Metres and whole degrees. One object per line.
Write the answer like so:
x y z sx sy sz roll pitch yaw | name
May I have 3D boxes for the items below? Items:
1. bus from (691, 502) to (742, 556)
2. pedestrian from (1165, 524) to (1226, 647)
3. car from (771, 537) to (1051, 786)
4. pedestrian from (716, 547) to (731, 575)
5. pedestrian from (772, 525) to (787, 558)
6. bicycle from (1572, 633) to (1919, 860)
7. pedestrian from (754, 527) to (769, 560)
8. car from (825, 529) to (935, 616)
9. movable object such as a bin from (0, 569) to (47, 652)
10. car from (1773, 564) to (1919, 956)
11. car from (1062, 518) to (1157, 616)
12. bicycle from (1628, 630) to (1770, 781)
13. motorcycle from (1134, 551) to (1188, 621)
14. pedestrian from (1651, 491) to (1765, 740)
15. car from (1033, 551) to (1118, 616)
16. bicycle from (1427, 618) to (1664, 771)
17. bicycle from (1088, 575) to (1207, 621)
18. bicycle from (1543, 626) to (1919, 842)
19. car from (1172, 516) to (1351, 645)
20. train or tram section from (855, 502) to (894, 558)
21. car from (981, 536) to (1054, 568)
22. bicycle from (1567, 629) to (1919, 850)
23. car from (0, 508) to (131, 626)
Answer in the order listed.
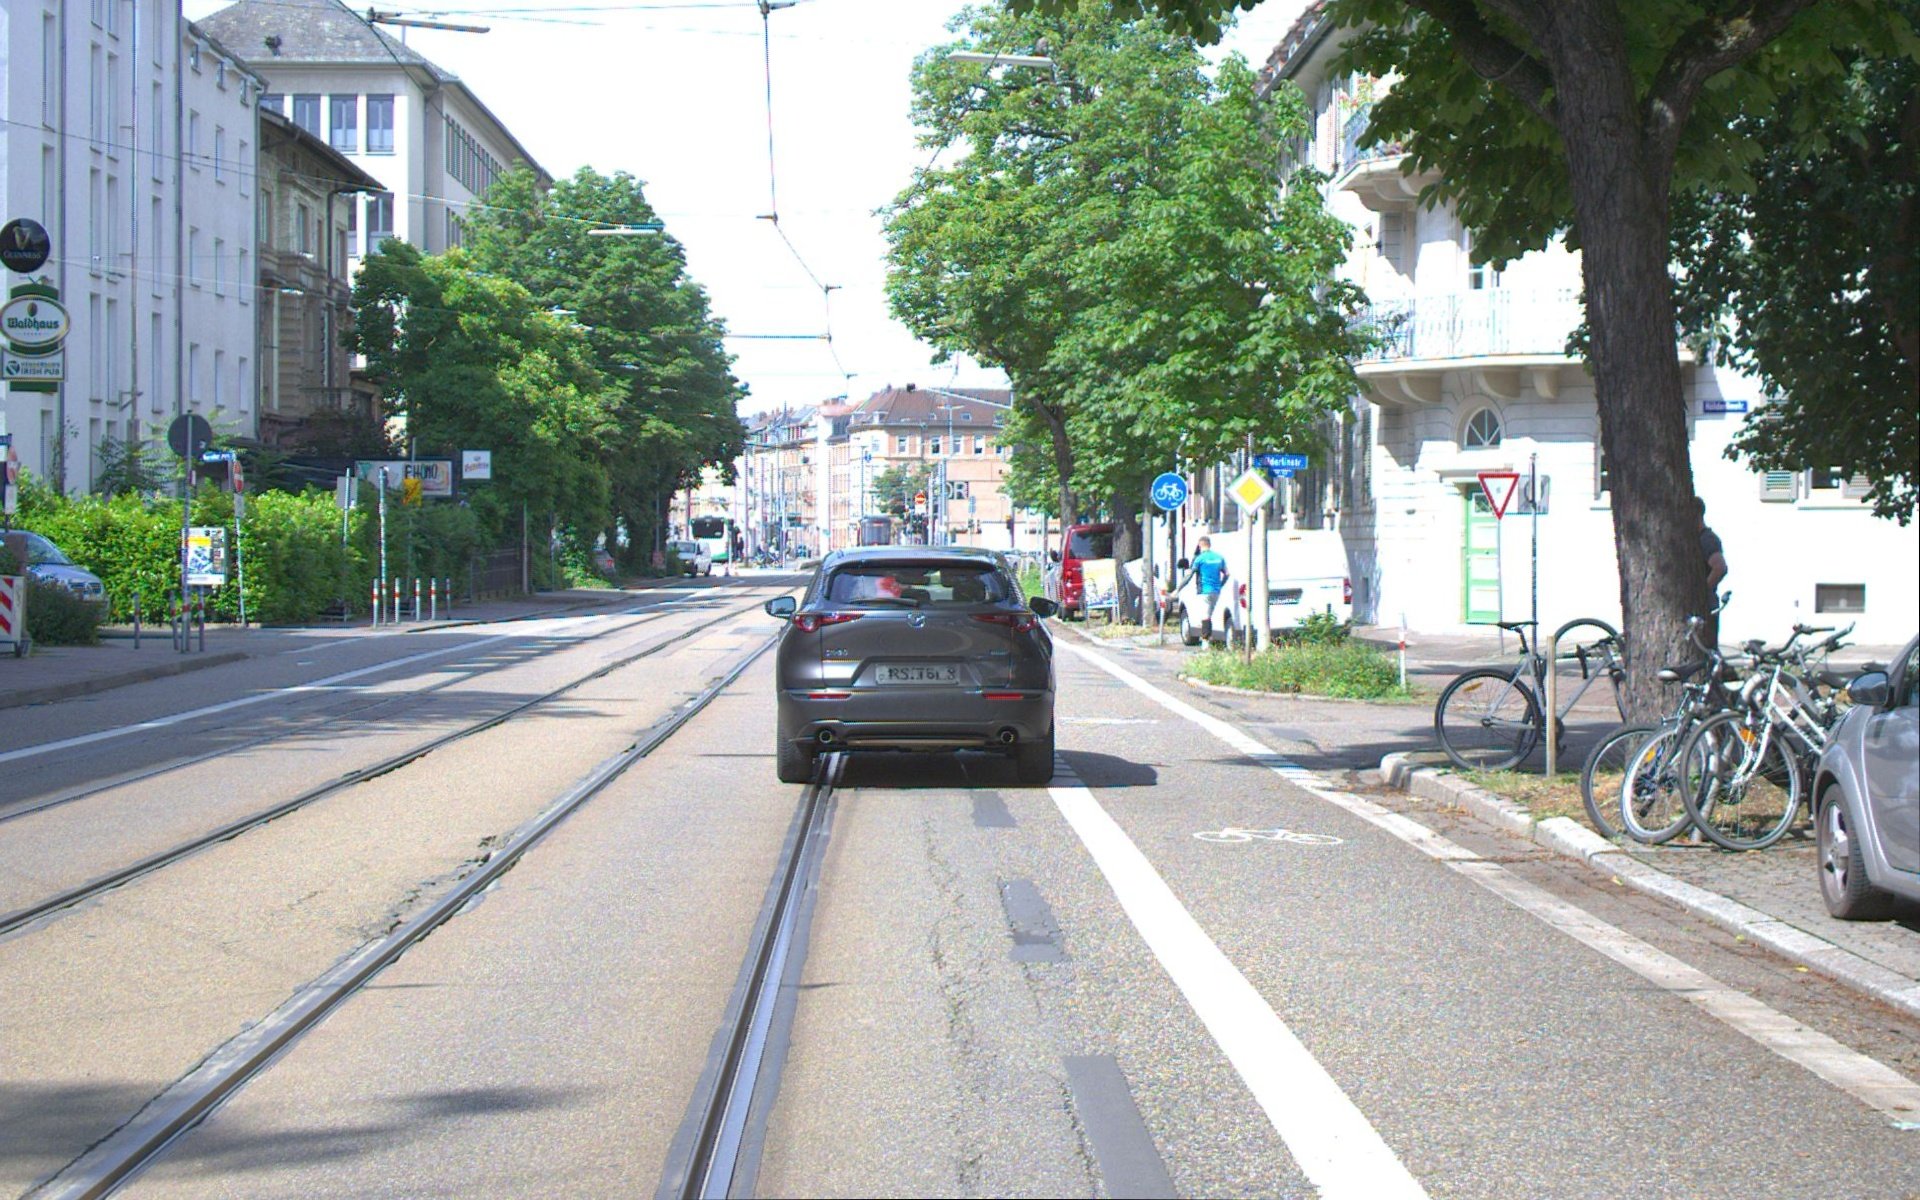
-16.382 -4.763 230.711 2.688 3.409 11.020 3 1 -7 | bus
3.556 -0.227 51.856 0.815 1.829 0.962 1 1 9 | pedestrian
-0.349 0.350 23.077 1.720 1.521 3.590 0 1 -2 | car
-12.706 -2.096 184.628 0.751 1.505 0.824 0 1 -5 | pedestrian
-10.955 -3.551 209.073 0.884 2.007 0.618 0 1 -5 | pedestrian
3.983 0.711 16.788 1.903 1.068 0.402 1 1 -1 | bicycle
-12.068 -3.424 209.098 0.884 2.007 0.618 0 1 -5 | pedestrian
-1.542 -0.551 66.285 1.993 1.523 4.000 3 1 -2 | car
-11.876 0.123 42.709 0.745 0.984 1.114 3 1 -1 | movable object such as a bin
4.372 0.584 12.919 1.666 1.425 3.766 -2 1 -1 | car
3.070 -0.702 71.151 1.720 1.962 4.207 0 1 -1 | car
4.737 0.657 22.121 0.258 0.897 1.773 0 1 -10 | bicycle
3.719 -0.270 63.746 0.794 1.267 2.423 0 1 -2 | motorcycle
5.583 0.119 25.691 0.610 1.829 0.879 0 -1 -3 | pedestrian
2.620 -0.393 78.547 1.720 1.419 3.590 0 1 -2 | car
3.789 0.613 22.279 1.491 0.980 0.259 0 1 1 | bicycle
3.683 -0.043 67.639 2.275 0.858 0.672 0 1 -2 | bicycle
3.983 0.682 17.631 1.903 1.068 0.402 1 1 -1 | bicycle
4.719 -0.351 54.451 1.786 1.932 4.992 0 1 -7 | car
-5.900 -4.879 239.126 2.571 3.759 13.027 0 1 -1 | train or tram section
3.276 -2.732 196.594 3.805 1.612 1.638 2 1 -19 | car
4.038 0.696 17.236 1.903 1.068 0.402 1 1 -1 | bicycle
-17.137 -0.609 60.425 4.667 2.007 2.044 1 1 21 | car
